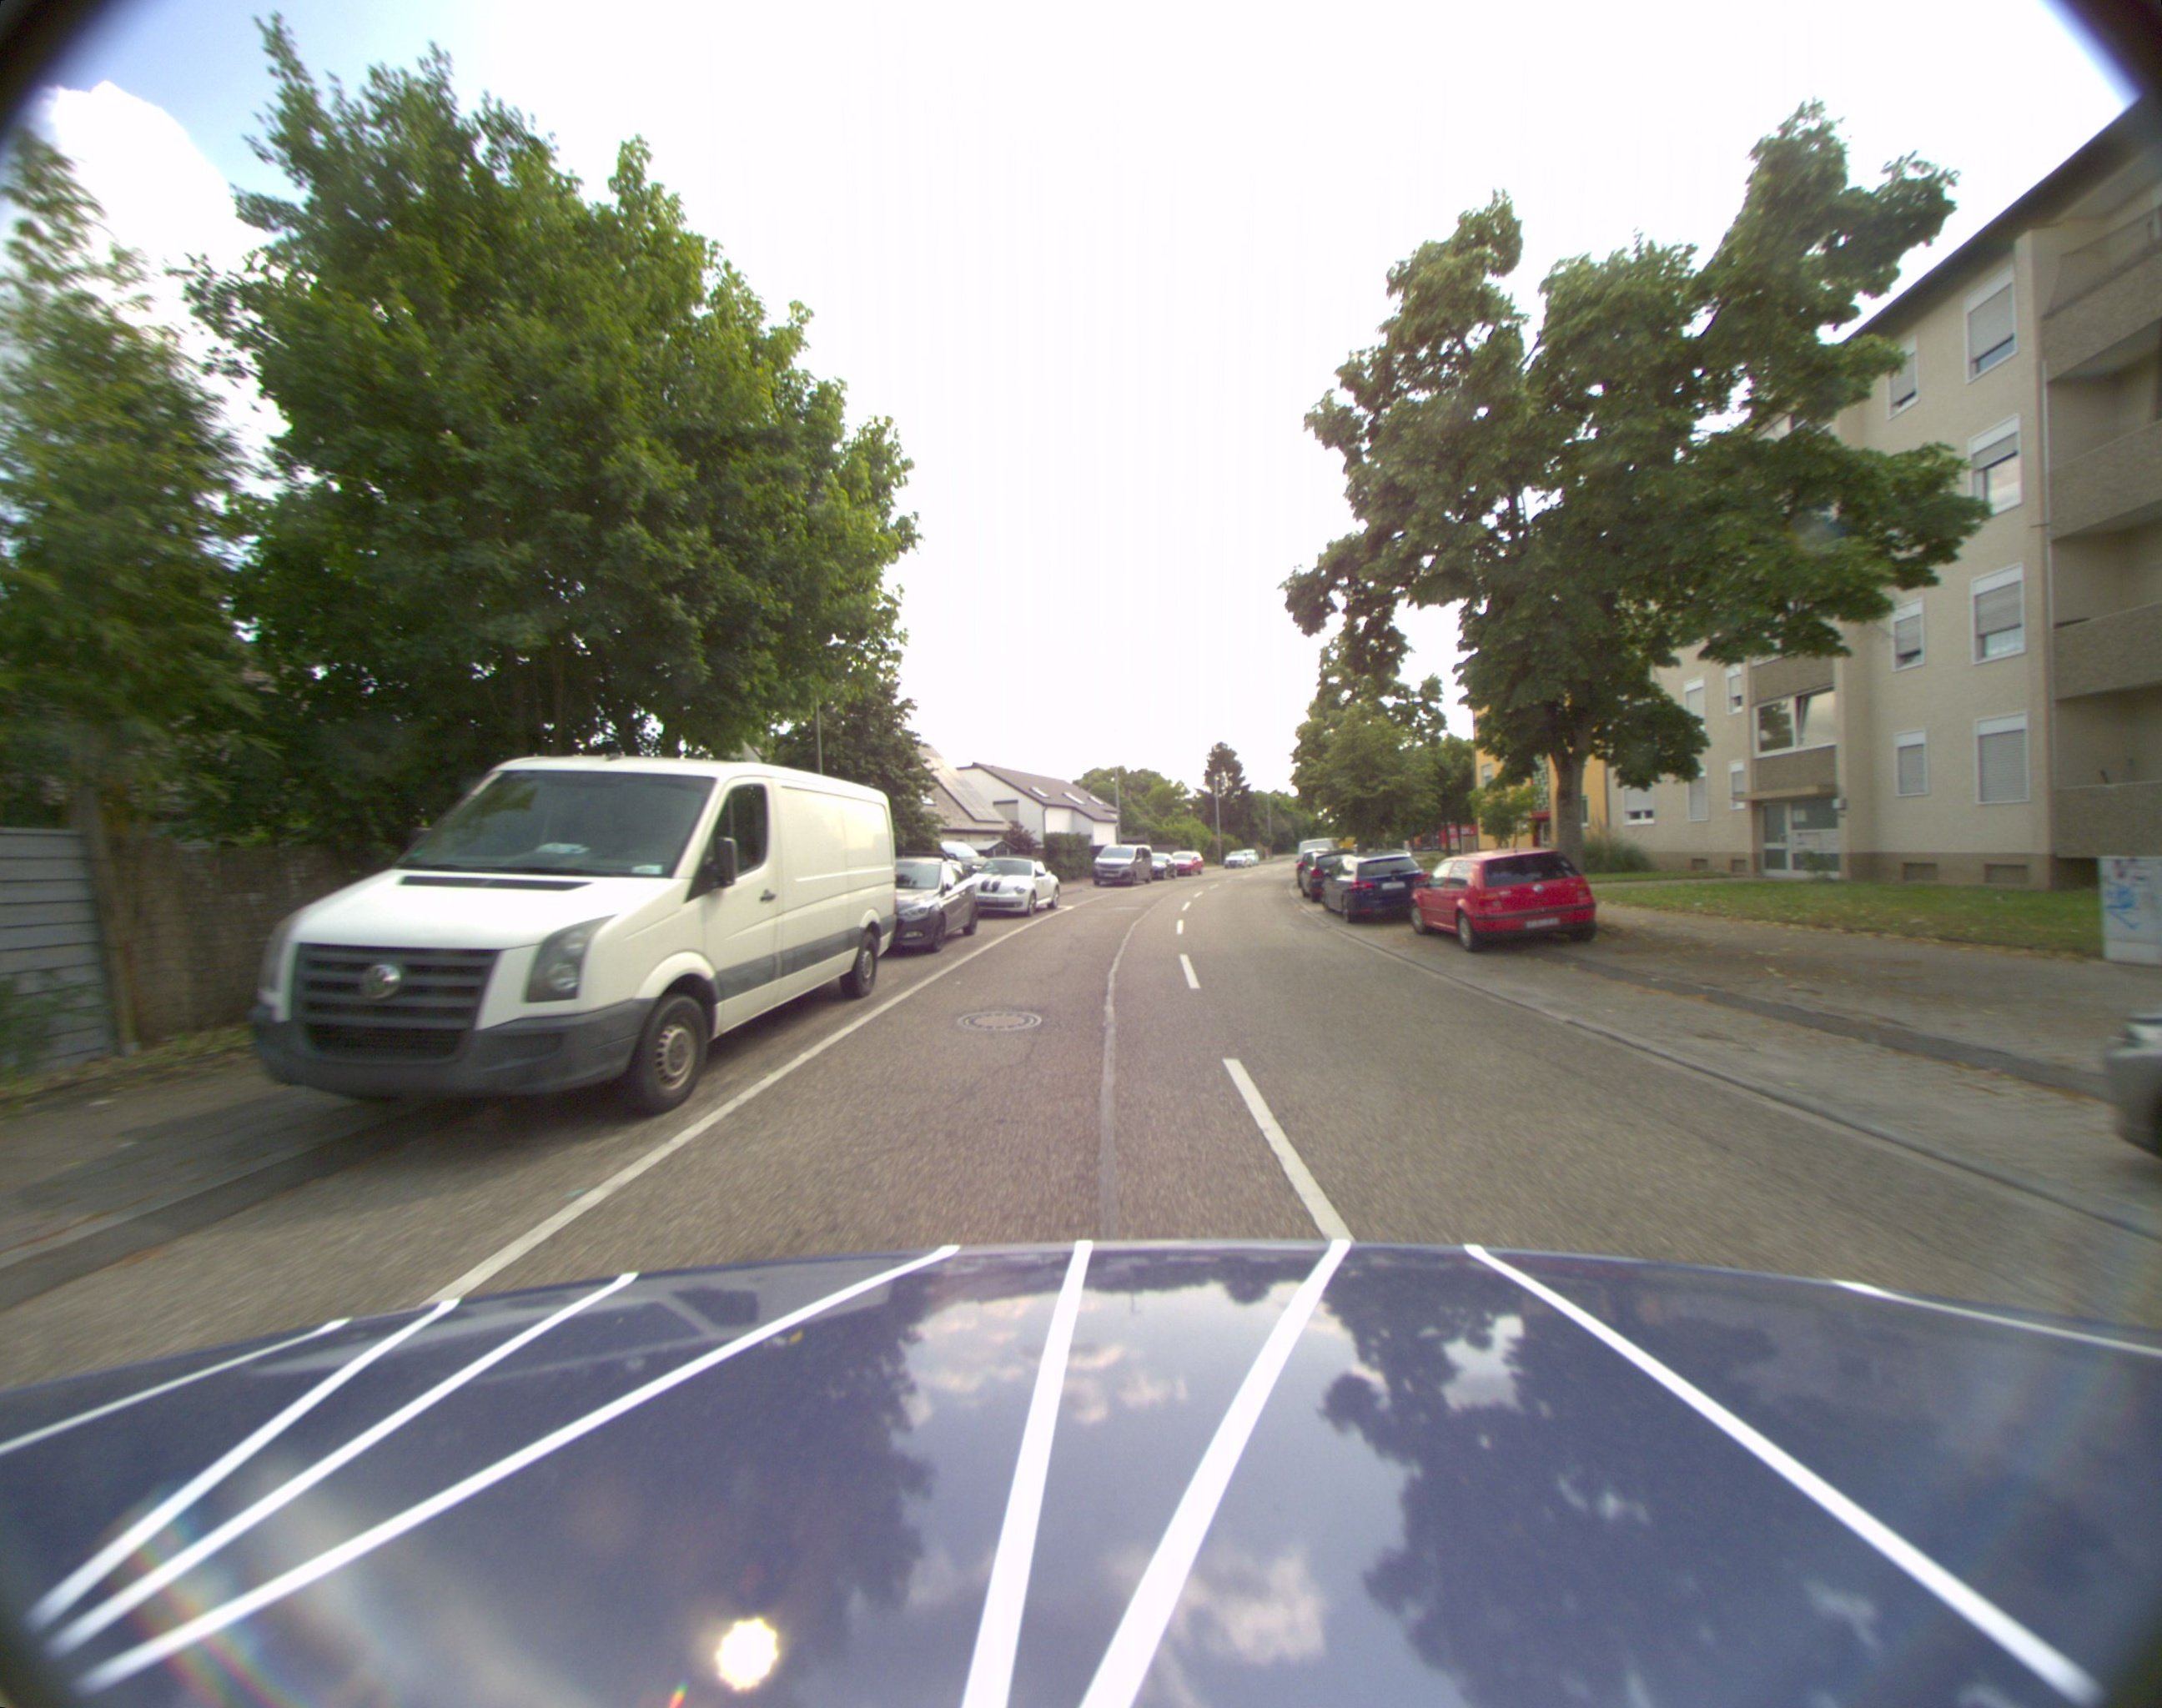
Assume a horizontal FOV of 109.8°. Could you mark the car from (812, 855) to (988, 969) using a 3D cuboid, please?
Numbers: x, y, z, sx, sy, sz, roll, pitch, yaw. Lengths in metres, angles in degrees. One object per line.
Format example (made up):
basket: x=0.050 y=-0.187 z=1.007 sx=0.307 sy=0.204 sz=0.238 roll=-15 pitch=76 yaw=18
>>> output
car: x=-2.891 y=0.861 z=13.135 sx=1.721 sy=1.576 sz=4.125 roll=-2 pitch=0 yaw=4

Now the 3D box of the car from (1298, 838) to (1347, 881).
car: x=12.378 y=0.220 z=38.744 sx=1.881 sy=1.998 sz=5.330 roll=-1 pitch=1 yaw=23

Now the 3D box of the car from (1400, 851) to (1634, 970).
car: x=6.621 y=0.754 z=12.112 sx=1.840 sy=1.430 sz=4.094 roll=-4 pitch=0 yaw=9

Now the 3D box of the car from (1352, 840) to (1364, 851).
car: x=40.539 y=-1.312 z=111.131 sx=1.555 sy=1.508 sz=3.614 roll=-2 pitch=1 yaw=22

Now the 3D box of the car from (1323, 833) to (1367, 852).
car: x=44.815 y=-1.923 z=129.041 sx=6.511 sy=2.853 sz=2.498 roll=-3 pitch=1 yaw=9

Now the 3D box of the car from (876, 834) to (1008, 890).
car: x=-5.695 y=0.341 z=30.773 sx=5.343 sy=2.045 sz=2.004 roll=-2 pitch=1 yaw=36

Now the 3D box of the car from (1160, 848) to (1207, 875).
car: x=6.606 y=0.430 z=48.487 sx=1.851 sy=1.570 sz=4.739 roll=-2 pitch=0 yaw=22

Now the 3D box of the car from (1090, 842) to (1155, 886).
car: x=2.041 y=0.414 z=36.012 sx=1.844 sy=1.933 sz=4.882 roll=1 pitch=1 yaw=18

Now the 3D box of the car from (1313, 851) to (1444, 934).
car: x=6.687 y=0.767 z=17.575 sx=1.764 sy=1.480 sz=4.572 roll=-4 pitch=1 yaw=8

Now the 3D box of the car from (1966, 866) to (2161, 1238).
car: x=5.316 y=0.806 z=1.619 sx=1.765 sy=1.480 sz=4.343 roll=-4 pitch=0 yaw=1

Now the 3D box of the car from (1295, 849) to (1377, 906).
car: x=7.717 y=0.651 z=23.342 sx=1.763 sy=1.480 sz=4.036 roll=-4 pitch=0 yaw=10

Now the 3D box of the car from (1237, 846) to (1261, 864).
car: x=15.912 y=0.068 z=71.742 sx=1.583 sy=1.511 sz=3.761 roll=-2 pitch=0 yaw=22

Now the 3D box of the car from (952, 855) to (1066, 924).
car: x=-1.739 y=0.837 z=19.950 sx=1.743 sy=1.503 sz=4.462 roll=-2 pitch=0 yaw=11

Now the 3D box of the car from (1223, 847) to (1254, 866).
car: x=13.376 y=0.227 z=64.410 sx=1.723 sy=1.478 sz=3.755 roll=-2 pitch=0 yaw=26

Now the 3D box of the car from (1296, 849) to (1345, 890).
car: x=10.014 y=0.600 z=31.678 sx=1.762 sy=1.480 sz=4.510 roll=-2 pitch=0 yaw=19

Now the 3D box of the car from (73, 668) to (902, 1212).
car: x=-3.419 y=0.395 z=6.422 sx=2.122 sy=2.427 sz=5.894 roll=-2 pitch=0 yaw=2
